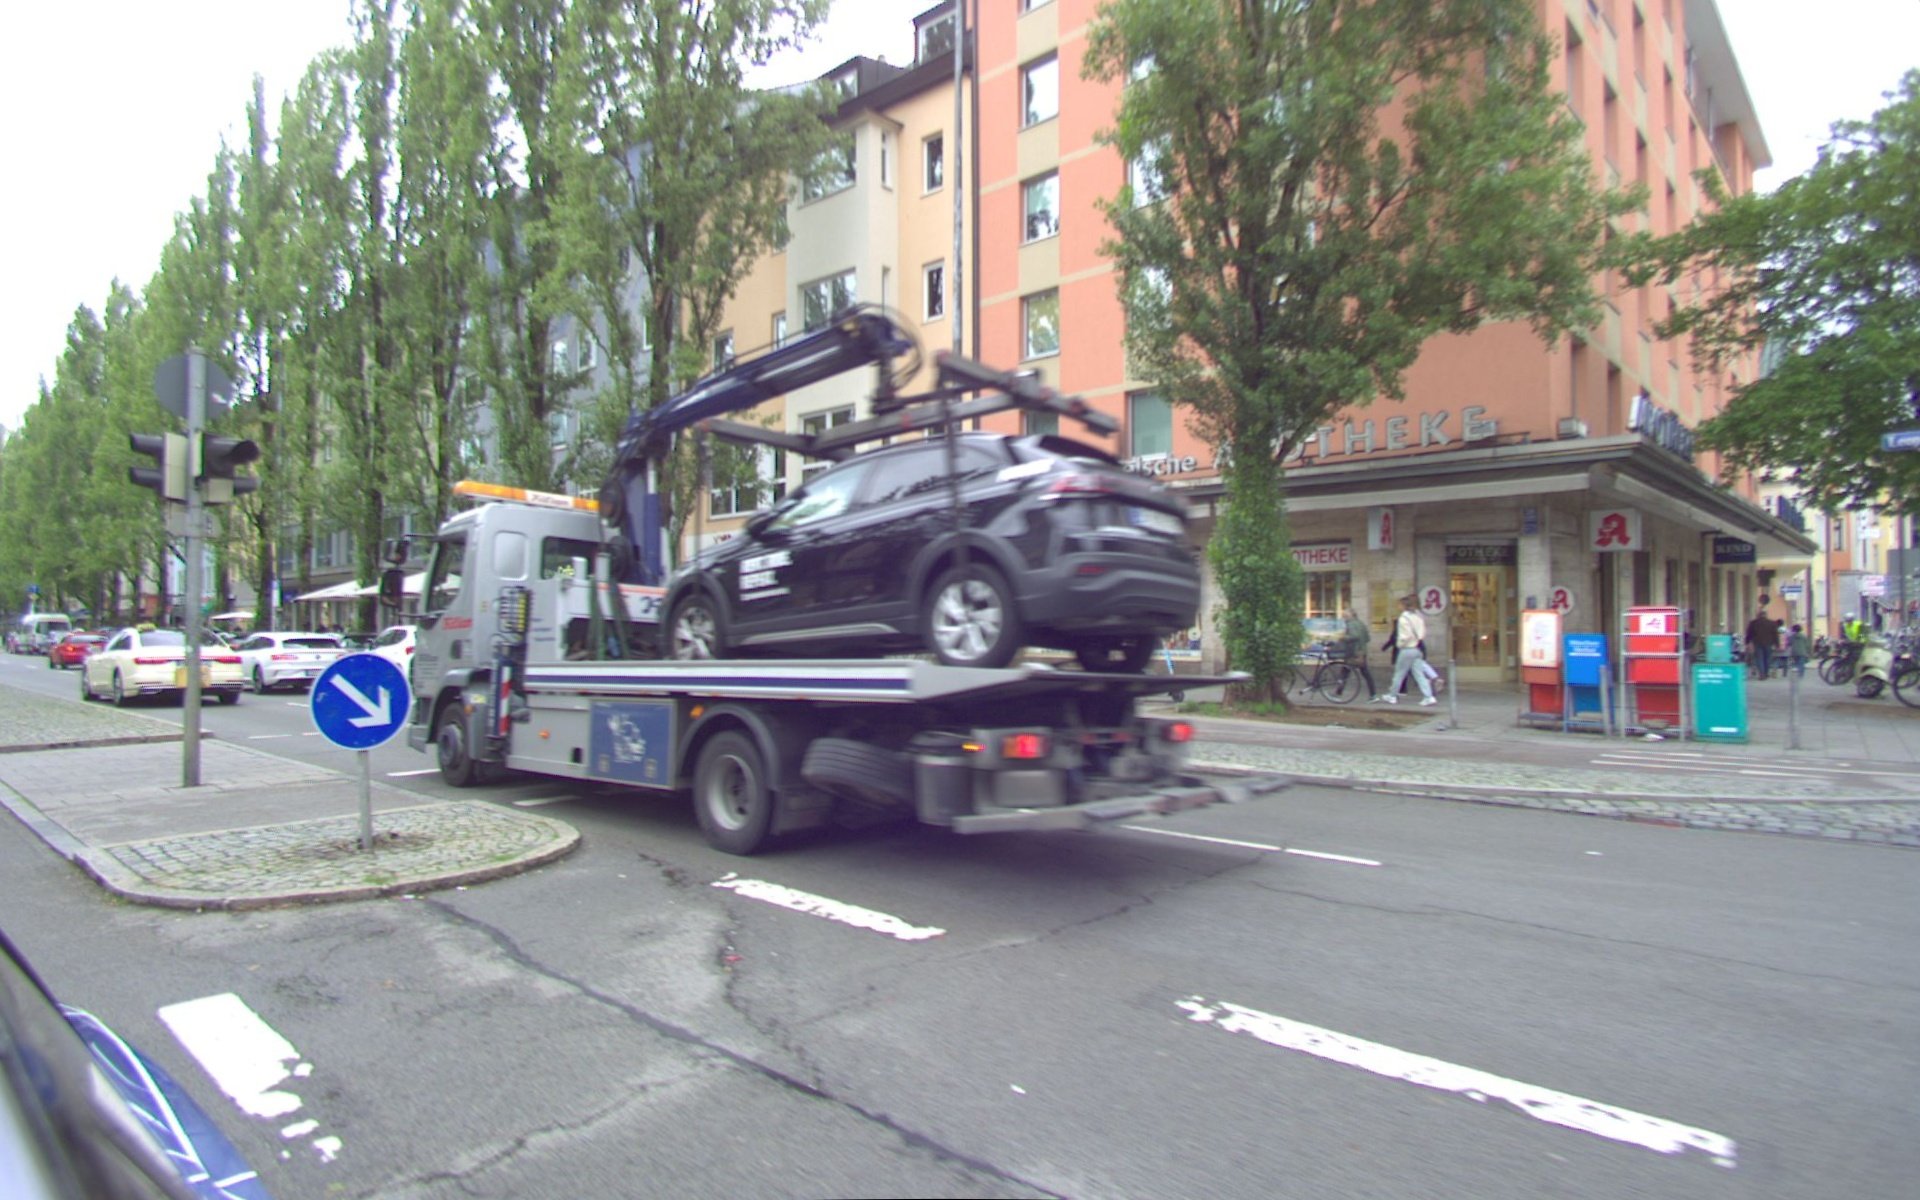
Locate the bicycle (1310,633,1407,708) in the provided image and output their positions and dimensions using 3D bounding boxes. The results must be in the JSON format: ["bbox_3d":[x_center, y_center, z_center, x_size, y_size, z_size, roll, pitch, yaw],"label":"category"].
[{"bbox_3d":[6.372,1.113,16.222,1.373,1.150,0.416,-2,-2,42],"label":"bicycle"}]

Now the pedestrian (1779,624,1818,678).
[{"bbox_3d":[22.464,1.361,27.121,0.780,1.401,0.656,-1,0,40],"label":"pedestrian"}]

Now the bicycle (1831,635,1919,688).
[{"bbox_3d":[21.548,1.405,23.380,2.058,1.193,0.682,-2,-2,34],"label":"bicycle"}]

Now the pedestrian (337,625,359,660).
[{"bbox_3d":[-32.242,2.232,53.293,0.755,1.768,0.810,-2,-2,41],"label":"pedestrian"}]

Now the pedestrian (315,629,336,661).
[{"bbox_3d":[-33.077,2.340,52.749,0.711,1.663,0.714,-2,-2,41],"label":"pedestrian"}]

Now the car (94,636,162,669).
[{"bbox_3d":[-39.189,2.450,47.656,4.582,1.457,1.685,-1,-2,41],"label":"car"}]

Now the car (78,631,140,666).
[{"bbox_3d":[-43.311,2.462,51.482,3.766,1.699,1.602,-1,-4,38],"label":"car"}]

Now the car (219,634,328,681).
[{"bbox_3d":[-22.319,1.824,32.863,4.428,1.423,1.686,-1,-3,39],"label":"car"}]

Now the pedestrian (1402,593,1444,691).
[{"bbox_3d":[8.189,0.738,17.900,0.513,1.704,0.580,-2,-2,40],"label":"pedestrian"}]

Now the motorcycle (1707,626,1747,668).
[{"bbox_3d":[22.182,1.340,29.248,0.690,1.147,2.034,-2,-2,43],"label":"motorcycle"}]

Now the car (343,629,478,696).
[{"bbox_3d":[-14.157,1.546,25.996,4.093,1.595,1.685,-1,-3,41],"label":"car"}]

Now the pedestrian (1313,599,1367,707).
[{"bbox_3d":[6.075,0.836,16.175,0.626,1.683,0.502,-2,-2,42],"label":"pedestrian"}]

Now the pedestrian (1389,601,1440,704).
[{"bbox_3d":[7.258,0.828,16.155,0.548,1.595,0.649,-2,-2,42],"label":"pedestrian"}]

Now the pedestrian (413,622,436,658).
[{"bbox_3d":[-24.858,1.835,46.976,0.756,1.653,0.732,-2,-2,42],"label":"pedestrian"}]

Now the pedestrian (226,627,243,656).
[{"bbox_3d":[-45.717,2.634,63.758,0.715,1.808,0.740,-2,-2,41],"label":"pedestrian"}]

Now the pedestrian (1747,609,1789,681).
[{"bbox_3d":[20.280,1.115,25.397,0.780,1.780,0.656,-1,0,40],"label":"pedestrian"}]

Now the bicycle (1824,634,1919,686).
[{"bbox_3d":[21.959,1.410,24.048,2.058,1.193,0.682,-2,-2,34],"label":"bicycle"}]

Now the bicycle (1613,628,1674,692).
[{"bbox_3d":[13.627,1.167,20.151,0.690,1.193,2.034,-2,-2,43],"label":"bicycle"}]

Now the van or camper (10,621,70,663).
[{"bbox_3d":[-58.820,2.674,64.662,6.640,2.570,2.103,-2,-2,41],"label":"van or camper"}]

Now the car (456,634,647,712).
[{"bbox_3d":[-8.625,1.455,21.204,4.585,1.449,1.686,-1,-3,39],"label":"car"}]

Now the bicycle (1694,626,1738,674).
[{"bbox_3d":[19.904,1.295,26.632,0.690,1.193,2.034,-2,-2,43],"label":"bicycle"}]

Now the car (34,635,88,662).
[{"bbox_3d":[-53.671,2.895,60.378,4.256,1.541,1.686,-1,-3,39],"label":"car"}]

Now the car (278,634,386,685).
[{"bbox_3d":[-18.454,1.705,29.679,4.184,1.392,1.478,-1,-3,41],"label":"car"}]

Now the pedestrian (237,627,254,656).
[{"bbox_3d":[-45.331,2.627,64.228,0.715,1.808,0.740,-2,-2,41],"label":"pedestrian"}]

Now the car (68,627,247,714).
[{"bbox_3d":[-15.931,1.312,19.984,4.982,1.513,1.825,-2,-3,40],"label":"car"}]

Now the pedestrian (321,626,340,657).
[{"bbox_3d":[-34.602,2.285,55.603,0.755,1.685,0.701,-2,-2,41],"label":"pedestrian"}]

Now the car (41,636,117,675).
[{"bbox_3d":[-34.803,2.150,39.947,3.821,1.448,1.719,-2,-3,41],"label":"car"}]

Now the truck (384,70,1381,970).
[{"bbox_3d":[-1.502,-0.250,7.837,8.434,3.698,2.438,-1,-2,41],"label":"truck"}]

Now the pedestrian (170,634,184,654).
[{"bbox_3d":[-55.501,3.106,71.737,0.550,1.449,0.642,-2,-2,36],"label":"pedestrian"}]

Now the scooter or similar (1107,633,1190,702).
[{"bbox_3d":[3.309,1.175,17.837,1.401,1.182,0.403,-2,-2,37],"label":"scooter or similar"}]

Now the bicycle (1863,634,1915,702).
[{"bbox_3d":[18.175,1.297,19.782,2.032,1.193,0.538,-1,0,-42],"label":"bicycle"}]

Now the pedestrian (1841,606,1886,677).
[{"bbox_3d":[22.983,1.050,25.754,0.780,1.780,0.656,-2,-2,40],"label":"pedestrian"}]

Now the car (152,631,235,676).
[{"bbox_3d":[-30.666,2.107,40.422,4.584,1.693,1.761,-1,-3,42],"label":"car"}]

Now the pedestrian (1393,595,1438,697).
[{"bbox_3d":[7.826,0.778,17.381,0.519,1.701,0.623,-1,0,41],"label":"pedestrian"}]

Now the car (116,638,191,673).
[{"bbox_3d":[-35.255,2.385,44.221,4.396,1.428,1.641,-1,-3,39],"label":"car"}]

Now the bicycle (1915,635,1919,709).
[{"bbox_3d":[16.249,1.138,15.664,2.058,1.193,0.411,-2,-2,34],"label":"bicycle"}]

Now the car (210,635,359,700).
[{"bbox_3d":[-16.377,1.565,24.450,4.629,1.419,1.804,-2,-3,40],"label":"car"}]

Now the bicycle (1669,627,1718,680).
[{"bbox_3d":[17.364,1.236,23.940,0.690,1.193,2.034,-2,-2,43],"label":"bicycle"}]
